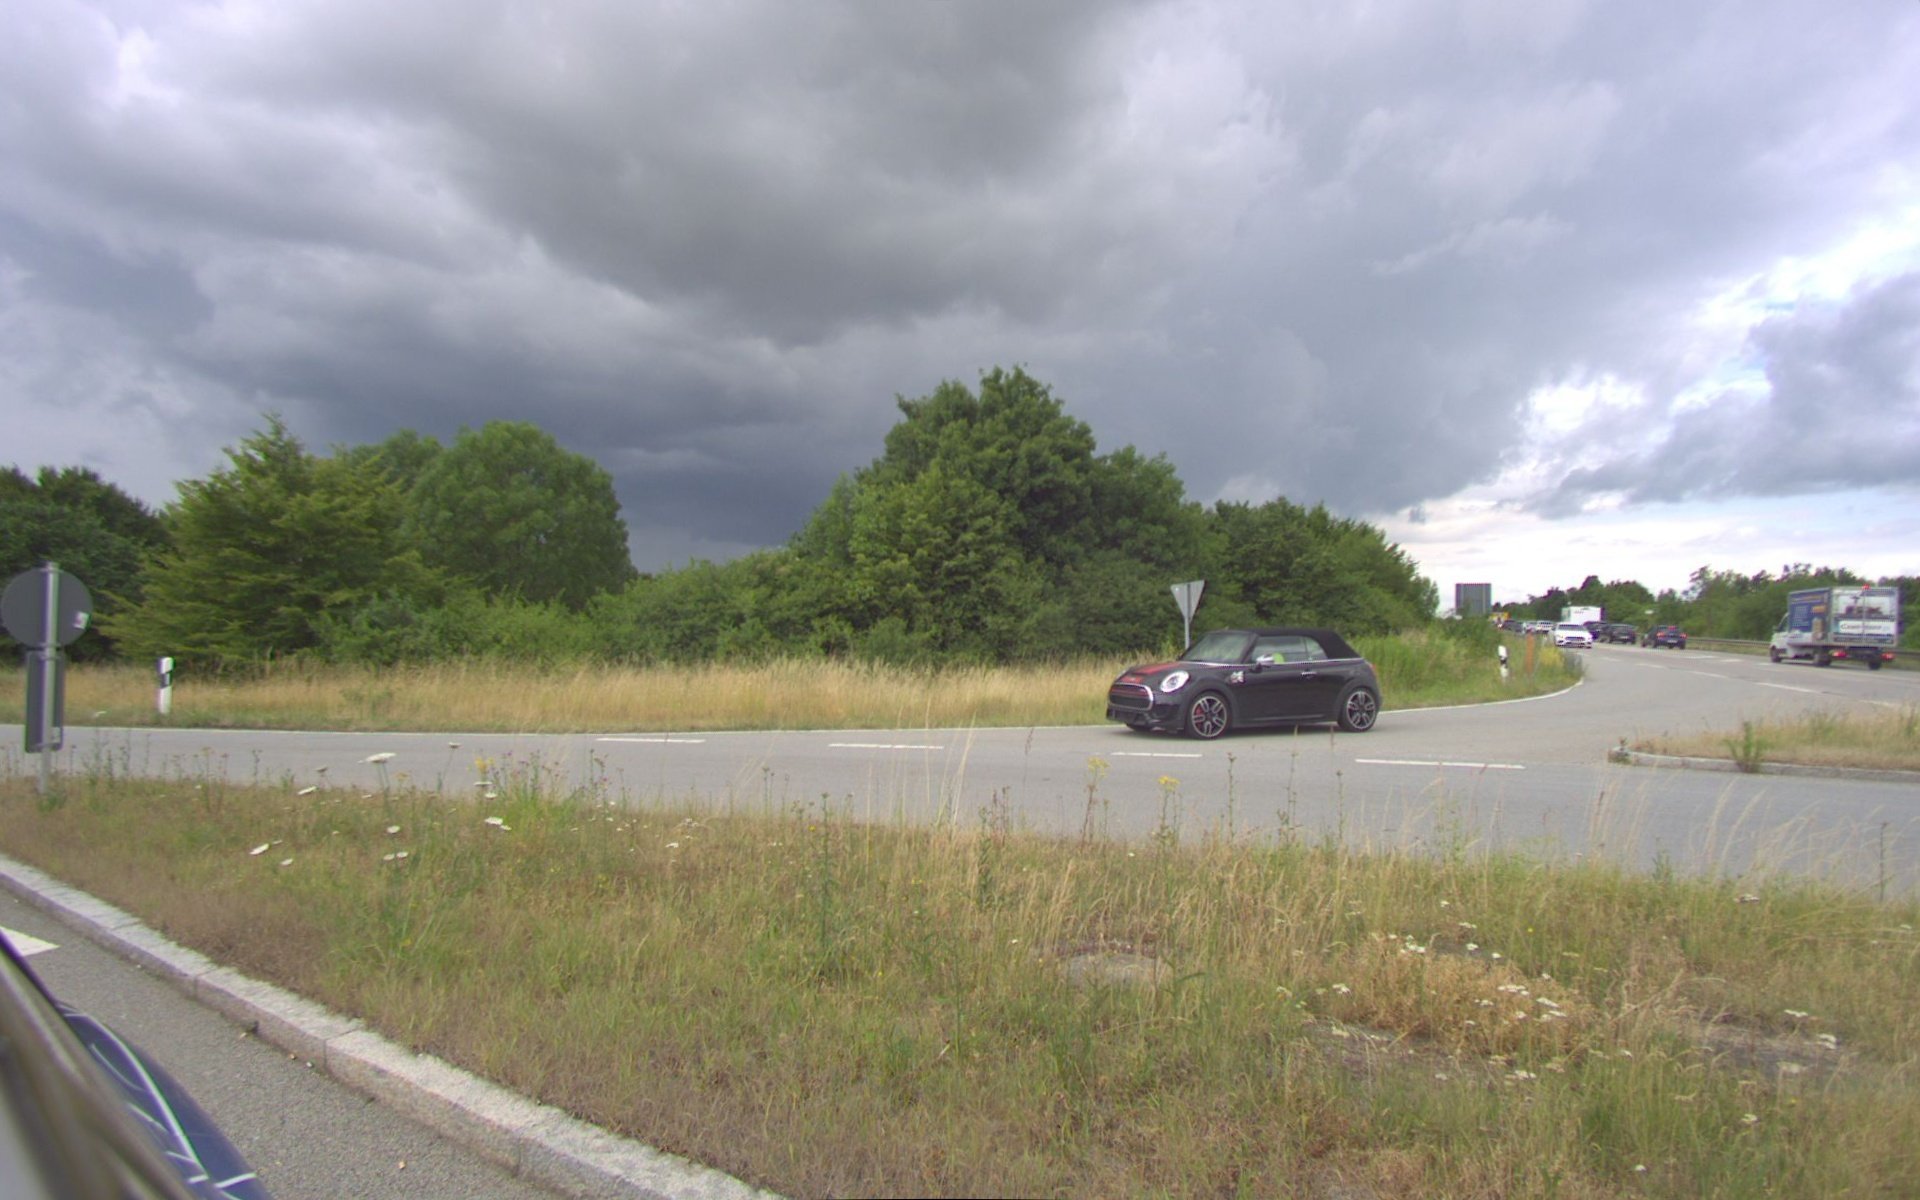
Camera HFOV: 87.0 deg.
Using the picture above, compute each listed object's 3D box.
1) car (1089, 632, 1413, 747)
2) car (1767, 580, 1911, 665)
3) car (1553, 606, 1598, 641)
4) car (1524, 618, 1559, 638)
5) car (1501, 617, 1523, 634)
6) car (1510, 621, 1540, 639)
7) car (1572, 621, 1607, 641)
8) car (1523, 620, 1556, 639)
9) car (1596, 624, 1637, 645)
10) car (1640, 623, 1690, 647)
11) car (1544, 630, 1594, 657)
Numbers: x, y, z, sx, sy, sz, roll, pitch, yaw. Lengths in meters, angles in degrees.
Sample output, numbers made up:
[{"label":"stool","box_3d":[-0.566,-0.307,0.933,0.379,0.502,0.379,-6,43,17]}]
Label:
[{"label":"car","box_3d":[3.959,1.130,13.742,4.096,1.363,1.680,1,-3,-25]},{"label":"car","box_3d":[35.311,0.928,40.939,2.325,3.052,6.509,2,-1,22]},{"label":"car","box_3d":[55.667,2.180,91.680,2.325,3.052,6.510,0,-2,21]},{"label":"car","box_3d":[58.116,2.773,101.167,2.325,1.936,4.839,0,-2,22]},{"label":"car","box_3d":[67.139,3.065,123.082,1.785,2.029,3.971,0,-2,21]},{"label":"car","box_3d":[63.884,3.384,114.465,2.325,1.936,4.839,0,-2,22]},{"label":"car","box_3d":[51.895,2.558,83.505,1.837,1.537,3.969,0,-2,23]},{"label":"car","box_3d":[61.028,3.098,106.667,2.325,1.936,4.840,0,-2,21]},{"label":"car","box_3d":[49.465,2.624,76.350,1.836,1.537,3.970,0,-2,22]},{"label":"car","box_3d":[45.790,2.286,65.800,1.836,1.537,3.969,0,-2,22]},{"label":"car","box_3d":[34.697,2.446,57.745,1.760,1.462,4.360,0,-2,22]}]
